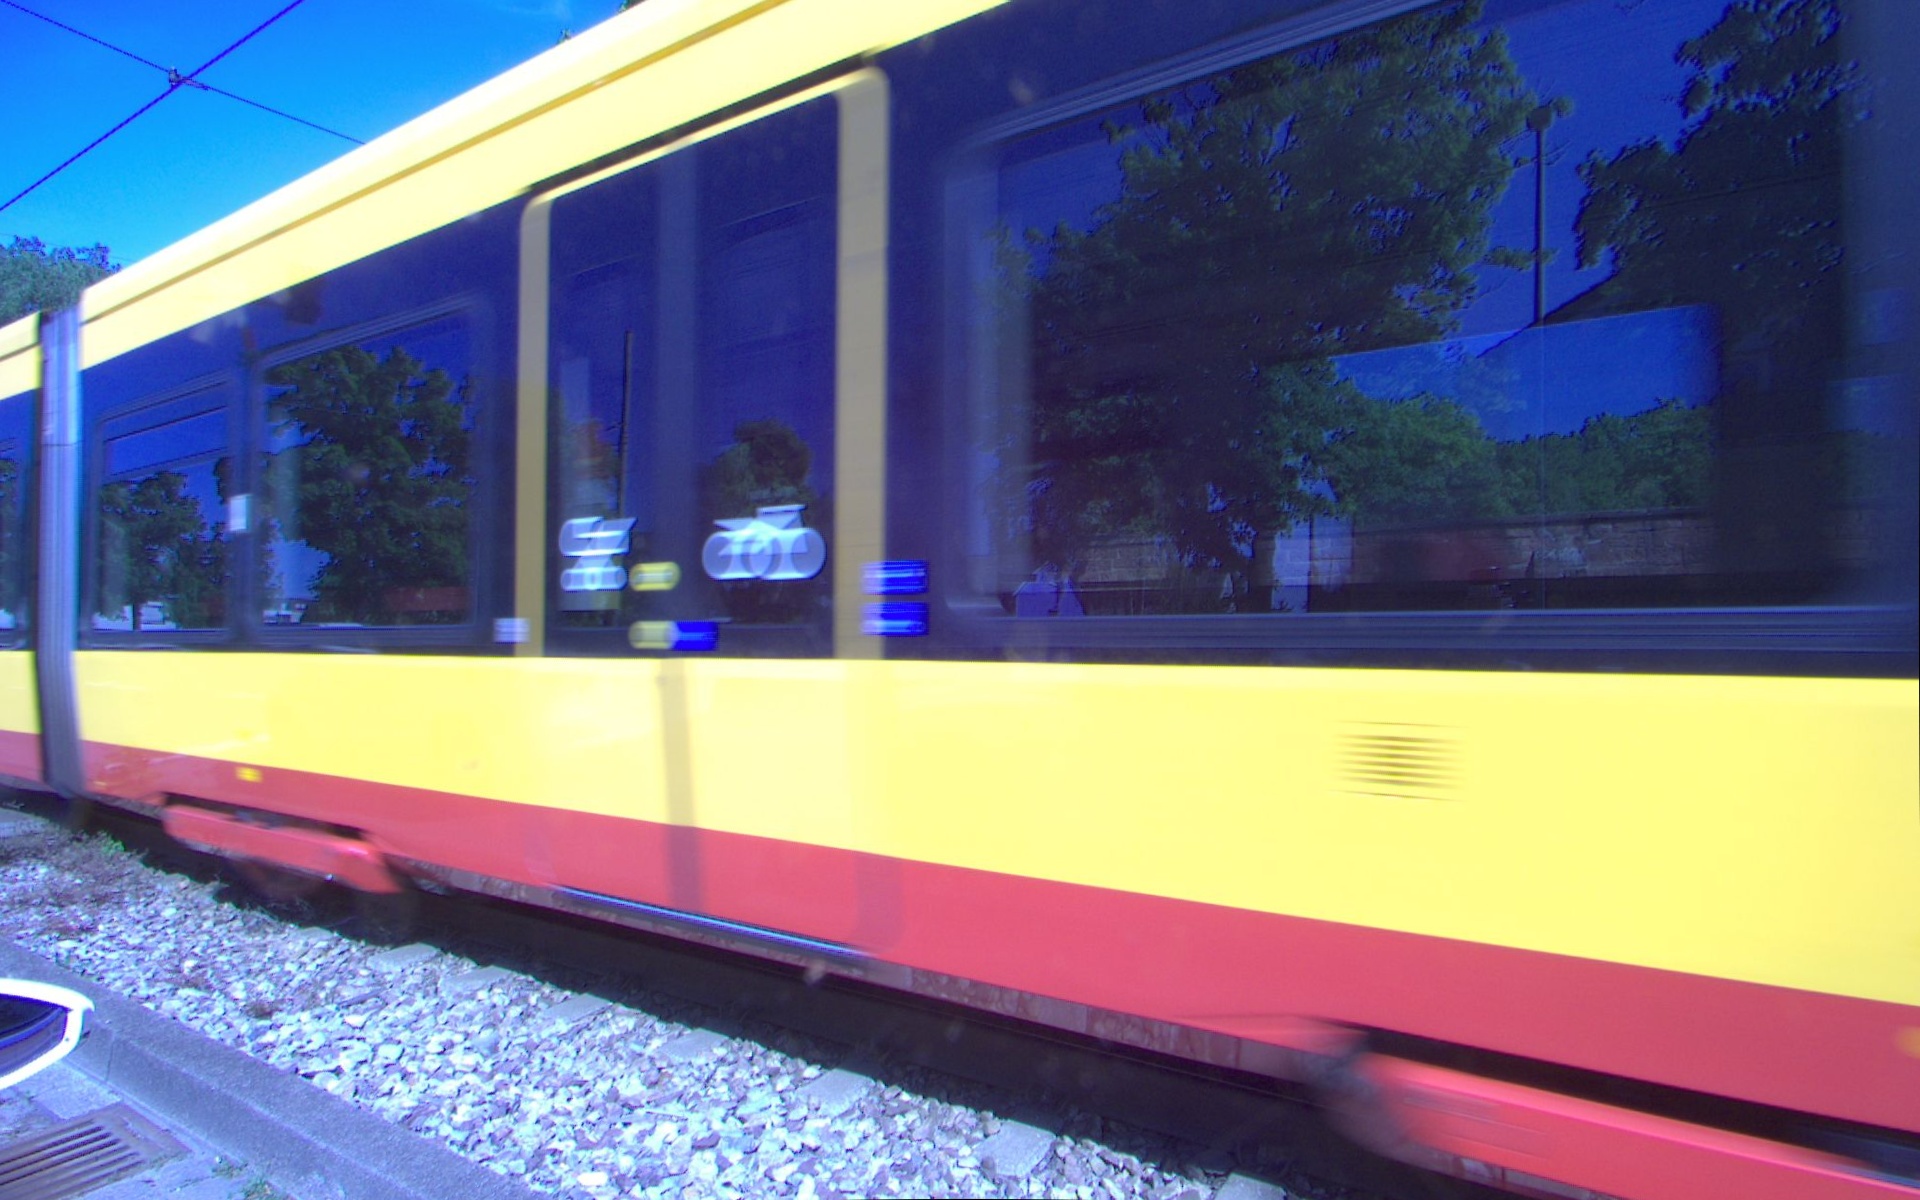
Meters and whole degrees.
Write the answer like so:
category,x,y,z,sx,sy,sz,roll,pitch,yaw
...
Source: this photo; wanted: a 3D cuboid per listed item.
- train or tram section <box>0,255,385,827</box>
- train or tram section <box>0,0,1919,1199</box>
category,x,y,z,sx,sy,sz,roll,pitch,yaw
train or tram section,-10.350,-0.353,10.585,10.387,3.907,2.864,-1,1,32
train or tram section,-0.852,-0.369,4.509,12.214,3.907,2.864,-1,1,32
